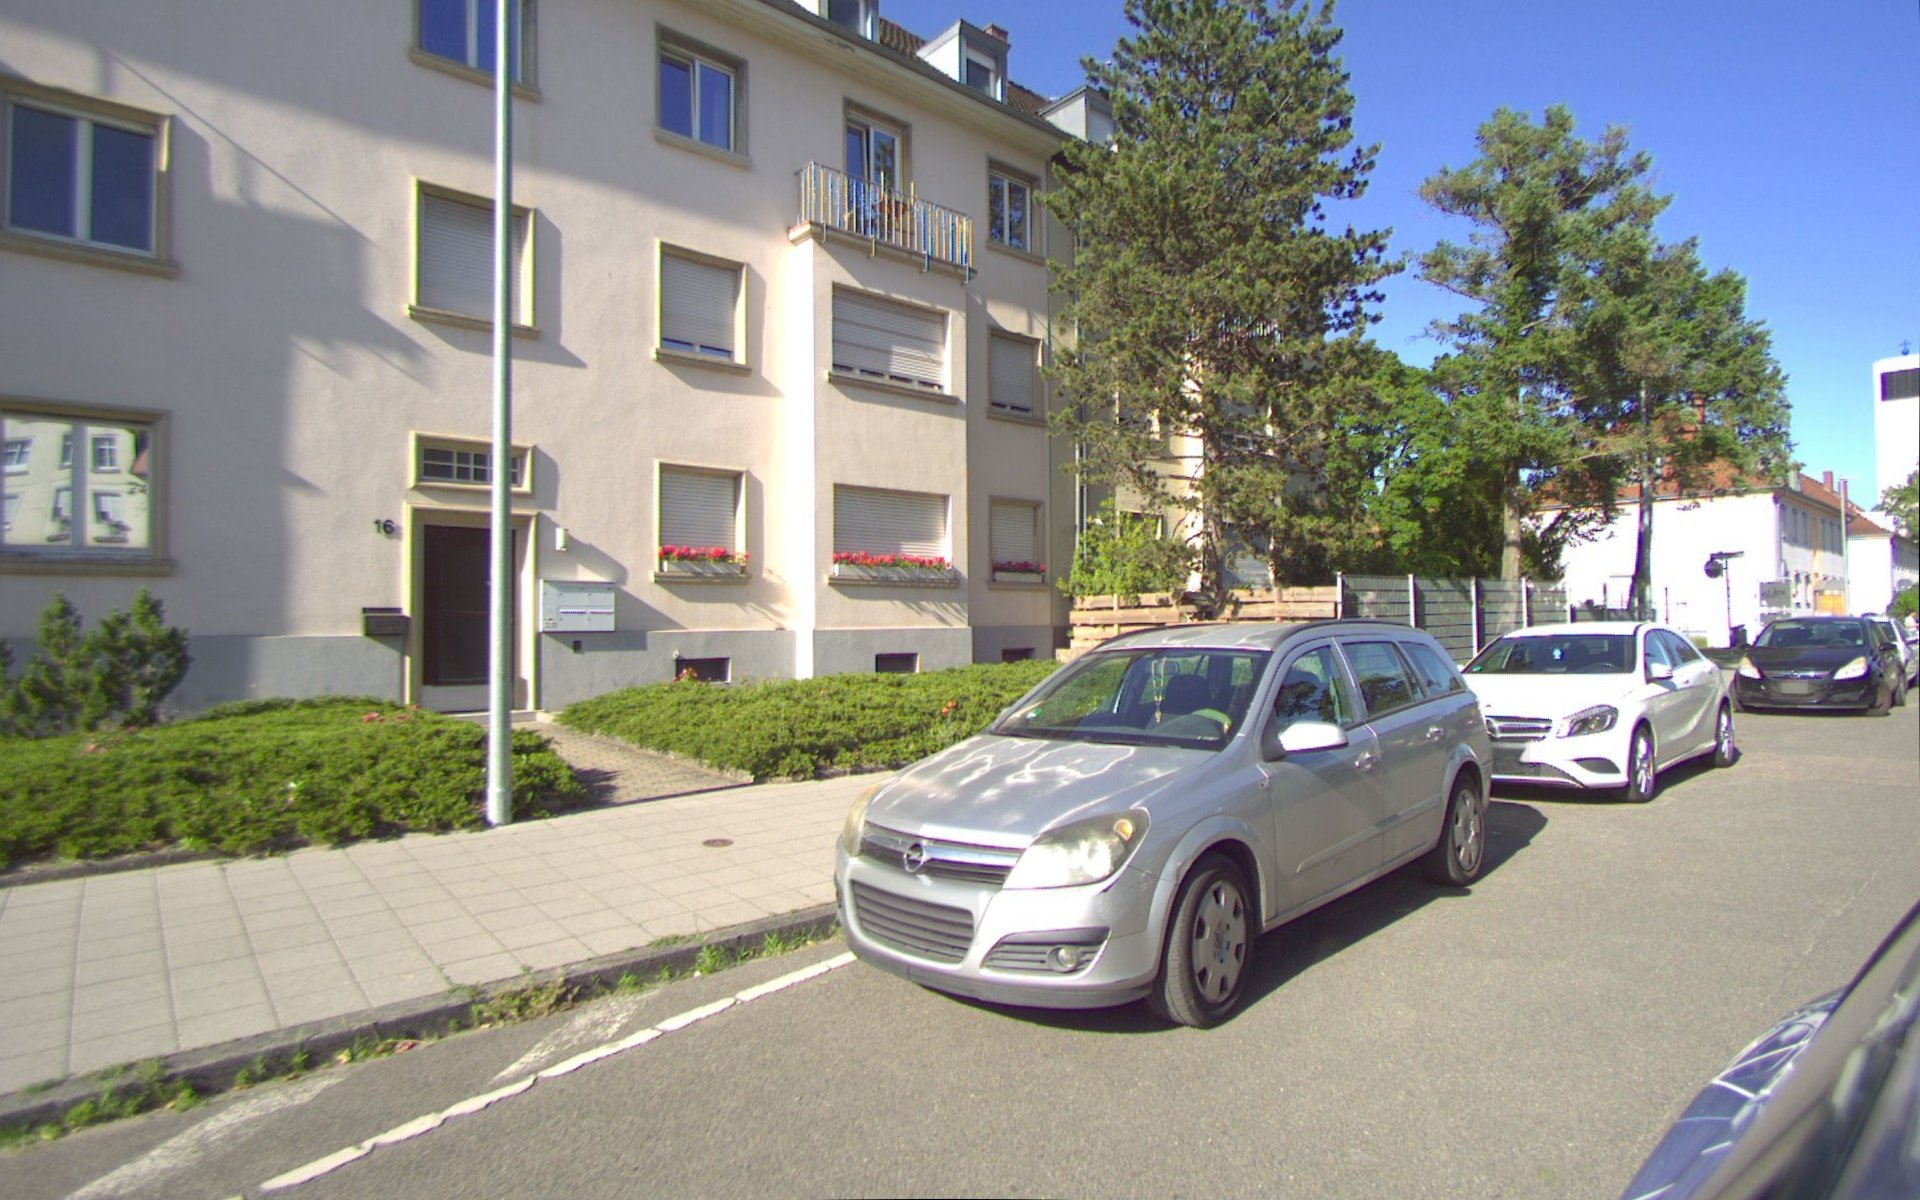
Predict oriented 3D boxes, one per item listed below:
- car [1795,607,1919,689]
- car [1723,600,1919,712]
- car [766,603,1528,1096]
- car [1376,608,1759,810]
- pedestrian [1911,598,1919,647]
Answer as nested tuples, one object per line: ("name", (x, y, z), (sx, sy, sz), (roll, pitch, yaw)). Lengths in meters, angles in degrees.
("car", (18.035, 0.896, 19.976), (4.062, 1.441, 1.674), (0, -3, -41))
("car", (13.597, 0.812, 15.850), (3.925, 1.530, 1.796), (0, -3, -41))
("car", (1.305, 0.800, 5.221), (4.339, 1.484, 1.659), (0, -3, -45))
("car", (5.815, 0.848, 9.475), (4.213, 1.439, 1.796), (0, -3, -41))
("pedestrian", (33.527, 0.779, 35.138), (0.646, 1.688, 0.641), (-1, 1, 38))
